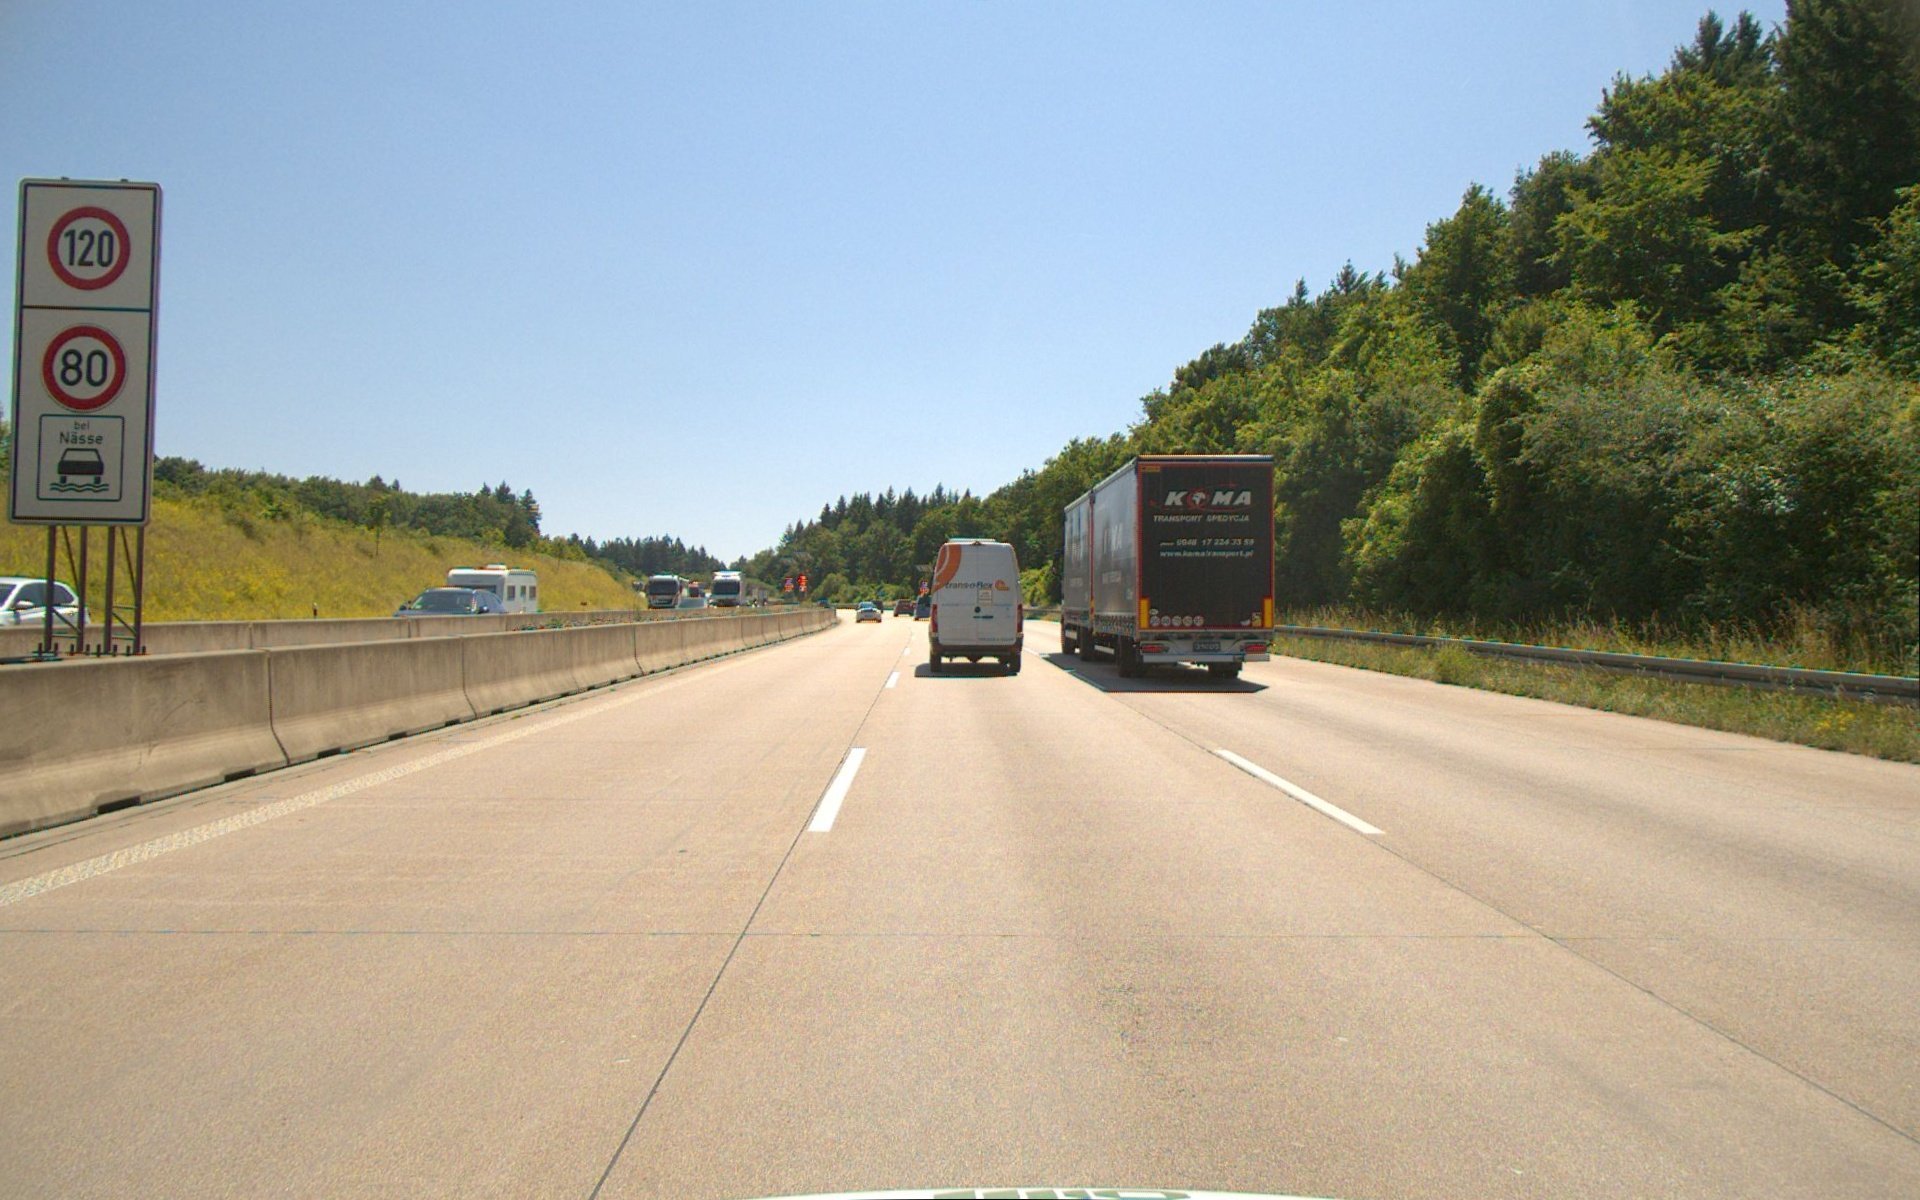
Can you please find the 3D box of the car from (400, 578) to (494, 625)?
[{"bbox_3d":[-19.595,0.073,63.386,1.953,1.689,5.373,1,0,-1],"label":"car"}]

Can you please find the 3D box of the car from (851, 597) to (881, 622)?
[{"bbox_3d":[-6.747,0.701,119.399,1.953,1.713,3.999,2,-1,-1],"label":"car"}]

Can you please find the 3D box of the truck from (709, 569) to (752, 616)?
[{"bbox_3d":[-20.377,-0.666,147.139,3.098,4.001,5.832,2,-1,-3],"label":"truck"}]

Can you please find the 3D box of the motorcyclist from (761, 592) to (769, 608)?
[{"bbox_3d":[-22.324,0.008,188.914,0.802,1.906,1.491,0,0,-2],"label":"motorcyclist"}]

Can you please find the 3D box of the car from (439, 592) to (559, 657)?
[{"bbox_3d":[-11.687,0.603,42.216,1.953,1.545,3.999,1,0,-1],"label":"car"}]

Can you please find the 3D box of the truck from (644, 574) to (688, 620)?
[{"bbox_3d":[-23.328,-0.217,131.524,2.670,3.473,4.511,2,-1,-1],"label":"truck"}]

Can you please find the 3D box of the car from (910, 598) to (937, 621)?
[{"bbox_3d":[-2.824,0.759,128.808,1.953,1.713,4.000,2,-1,0],"label":"car"}]

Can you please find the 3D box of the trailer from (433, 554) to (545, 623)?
[{"bbox_3d":[-19.796,-0.458,70.010,2.553,2.677,7.779,1,0,-1],"label":"trailer"}]

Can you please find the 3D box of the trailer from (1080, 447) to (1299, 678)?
[{"bbox_3d":[4.406,-0.661,33.948,3.071,4.087,9.085,0,0,-1],"label":"trailer"}]

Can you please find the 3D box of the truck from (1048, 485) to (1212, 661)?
[{"bbox_3d":[4.230,-0.613,43.789,3.095,4.087,10.605,0,0,-1],"label":"truck"}]

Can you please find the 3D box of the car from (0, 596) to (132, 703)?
[{"bbox_3d":[-15.570,0.742,26.915,1.953,1.586,4.498,1,0,-1],"label":"car"}]

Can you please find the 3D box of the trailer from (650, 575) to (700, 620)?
[{"bbox_3d":[-23.424,-0.164,136.279,2.670,3.473,8.952,2,-1,-1],"label":"trailer"}]

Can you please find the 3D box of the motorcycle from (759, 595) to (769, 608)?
[{"bbox_3d":[-22.351,0.176,188.893,0.987,1.577,2.482,0,0,-2],"label":"motorcycle"}]

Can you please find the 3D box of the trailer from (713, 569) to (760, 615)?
[{"bbox_3d":[-20.764,-0.637,154.302,3.098,4.001,13.857,2,-1,-3],"label":"trailer"}]

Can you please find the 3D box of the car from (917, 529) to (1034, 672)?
[{"bbox_3d":[0.240,-0.011,36.188,2.182,2.894,5.450,0,0,-4],"label":"car"}]

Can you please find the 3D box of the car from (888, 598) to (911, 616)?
[{"bbox_3d":[-5.899,0.685,161.079,1.952,1.713,4.000,2,-1,1],"label":"car"}]
